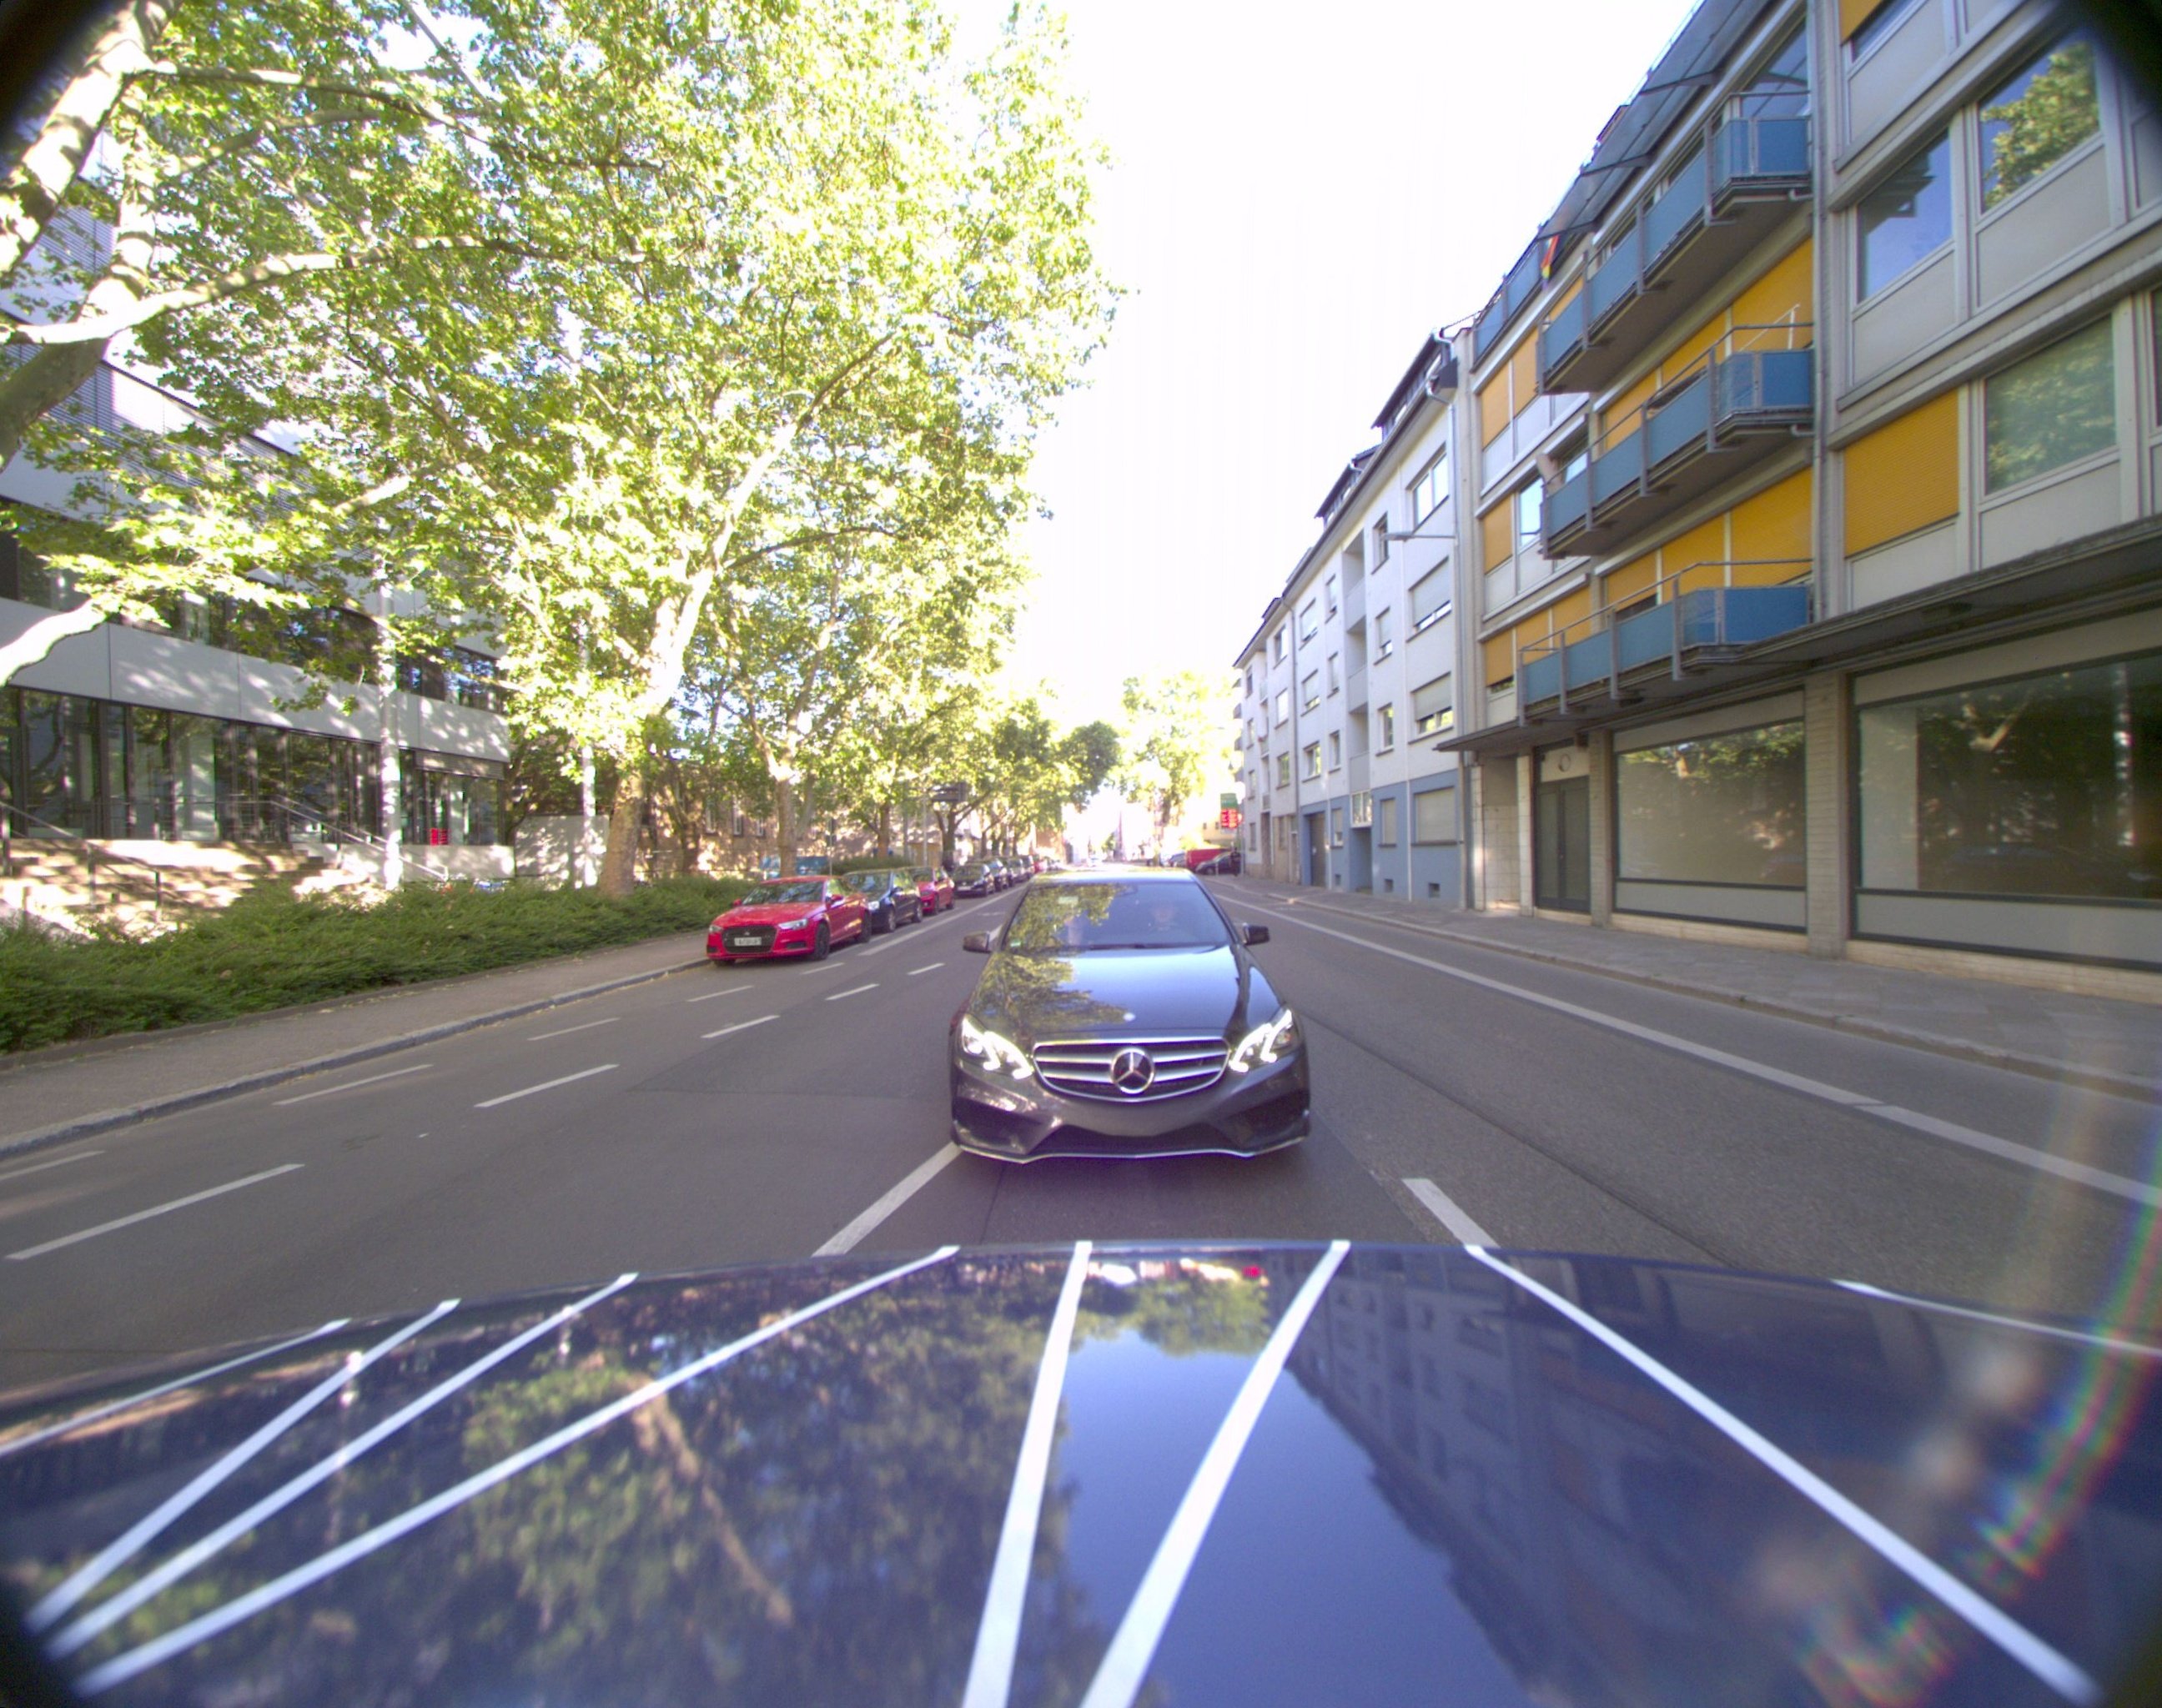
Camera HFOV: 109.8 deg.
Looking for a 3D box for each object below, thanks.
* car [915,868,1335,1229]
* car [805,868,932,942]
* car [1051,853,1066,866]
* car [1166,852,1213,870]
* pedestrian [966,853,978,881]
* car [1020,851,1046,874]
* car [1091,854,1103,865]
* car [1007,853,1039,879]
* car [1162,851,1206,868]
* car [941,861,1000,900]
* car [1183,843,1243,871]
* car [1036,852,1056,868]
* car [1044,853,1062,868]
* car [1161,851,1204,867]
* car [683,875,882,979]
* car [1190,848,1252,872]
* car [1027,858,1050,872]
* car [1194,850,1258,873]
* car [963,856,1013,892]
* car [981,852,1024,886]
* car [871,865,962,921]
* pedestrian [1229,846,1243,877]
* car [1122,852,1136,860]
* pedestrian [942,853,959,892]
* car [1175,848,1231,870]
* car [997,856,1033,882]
[{"bbox_3d":[0.226,0.919,5.564,1.849,1.490,4.302,-1,0,1],"label":"car"},{"bbox_3d":[-5.039,1.154,18.636,1.835,1.438,4.168,-2,0,1],"label":"car"},{"bbox_3d":[-3.046,0.694,102.954,1.835,1.667,4.259,-2,0,1],"label":"car"},{"bbox_3d":[10.433,0.679,73.197,4.255,1.461,1.653,-4,0,1],"label":"car"},{"bbox_3d":[-7.023,0.827,49.028,0.601,1.785,0.593,-2,1,0],"label":"pedestrian"},{"bbox_3d":[-4.145,0.688,66.352,1.835,1.839,4.259,-2,0,1],"label":"car"},{"bbox_3d":[2.415,0.841,112.833,1.726,1.530,4.000,-1,0,1],"label":"car"},{"bbox_3d":[-4.178,0.818,55.644,1.835,1.750,4.259,-2,0,1],"label":"car"},{"bbox_3d":[10.604,0.547,78.656,4.255,1.461,1.653,-4,0,1],"label":"car"},{"bbox_3d":[-4.744,1.108,33.182,1.835,1.459,4.168,-2,0,1],"label":"car"},{"bbox_3d":[10.416,0.227,60.135,4.255,1.907,1.818,-4,0,0],"label":"car"},{"bbox_3d":[-3.938,0.676,86.232,1.835,1.667,4.259,-2,0,1],"label":"car"},{"bbox_3d":[-3.411,0.794,92.847,1.835,1.667,4.259,-2,0,1],"label":"car"},{"bbox_3d":[10.775,0.521,80.620,4.255,1.461,1.653,-4,0,1],"label":"car"},{"bbox_3d":[-5.128,1.181,13.775,1.835,1.396,4.247,-2,0,1],"label":"car"},{"bbox_3d":[10.485,0.459,57.055,4.255,1.461,1.653,-4,0,1],"label":"car"},{"bbox_3d":[-3.990,1.033,71.793,1.835,1.220,4.259,-2,0,1],"label":"car"},{"bbox_3d":[10.401,0.523,54.753,4.255,1.392,1.653,-4,0,1],"label":"car"},{"bbox_3d":[-4.595,0.969,38.080,1.835,1.596,4.161,-2,0,1],"label":"car"},{"bbox_3d":[-4.509,0.827,44.119,1.835,1.787,4.463,-2,0,1],"label":"car"},{"bbox_3d":[-5.041,1.138,23.845,1.835,1.459,4.168,-2,0,1],"label":"car"},{"bbox_3d":[8.556,0.384,41.997,0.612,1.685,0.655,-2,1,1],"label":"pedestrian"},{"bbox_3d":[11.600,0.446,182.275,1.995,1.729,4.007,-1,0,26],"label":"car"},{"bbox_3d":[-6.437,0.907,37.548,0.660,1.849,0.641,-2,1,1],"label":"pedestrian"},{"bbox_3d":[10.053,0.413,62.717,4.255,1.461,1.653,-4,0,1],"label":"car"},{"bbox_3d":[-4.337,0.952,50.613,1.835,1.604,4.259,-2,0,1],"label":"car"}]
